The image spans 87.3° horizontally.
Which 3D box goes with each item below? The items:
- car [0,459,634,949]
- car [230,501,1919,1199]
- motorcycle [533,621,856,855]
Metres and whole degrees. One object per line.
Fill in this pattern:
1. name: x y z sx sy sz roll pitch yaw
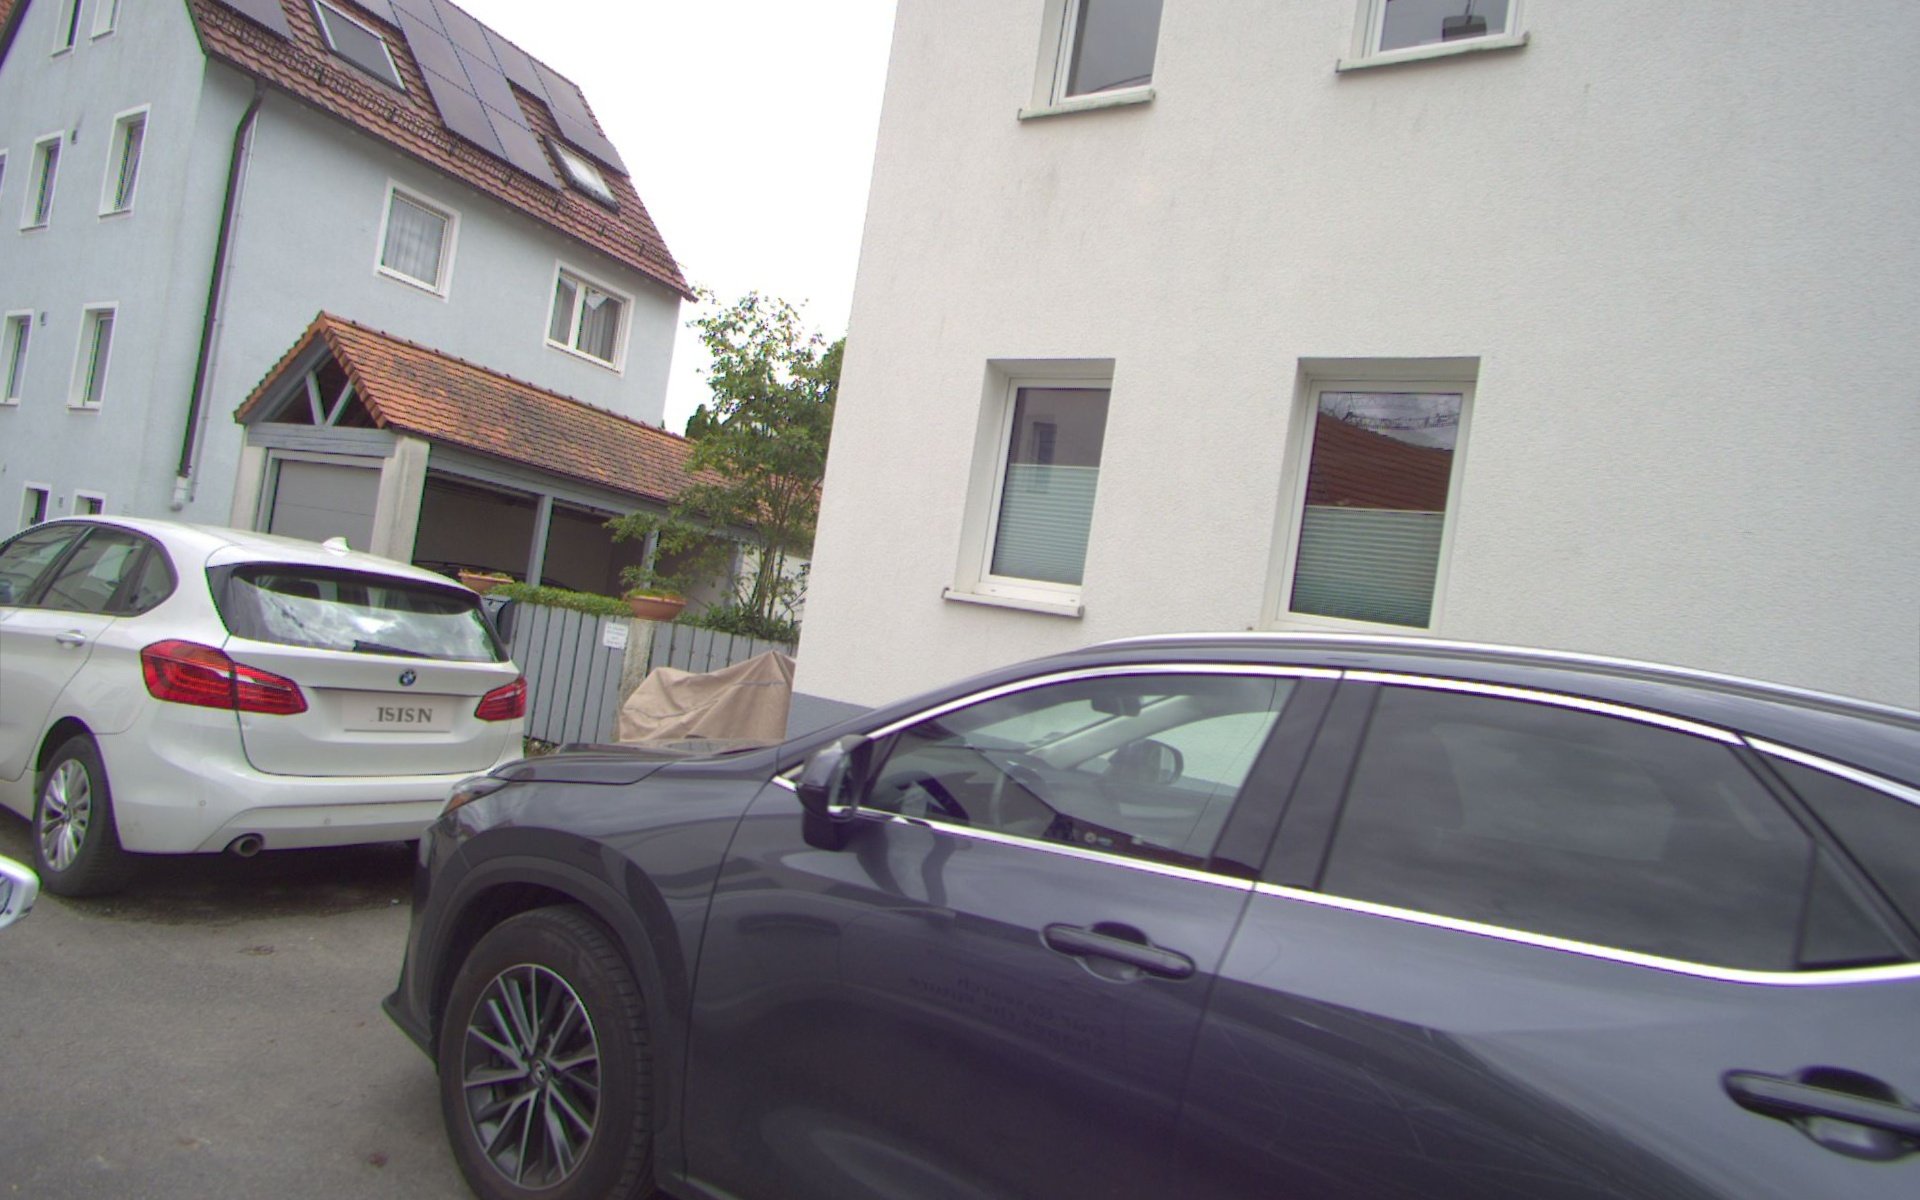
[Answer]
1. car: -4.318 0.261 5.555 4.798 1.633 1.999 7 -3 32
2. car: 0.552 0.871 2.484 4.818 1.651 1.868 7 -2 30
3. motorcycle: -1.863 0.870 6.912 2.135 1.186 0.819 6 -1 33
